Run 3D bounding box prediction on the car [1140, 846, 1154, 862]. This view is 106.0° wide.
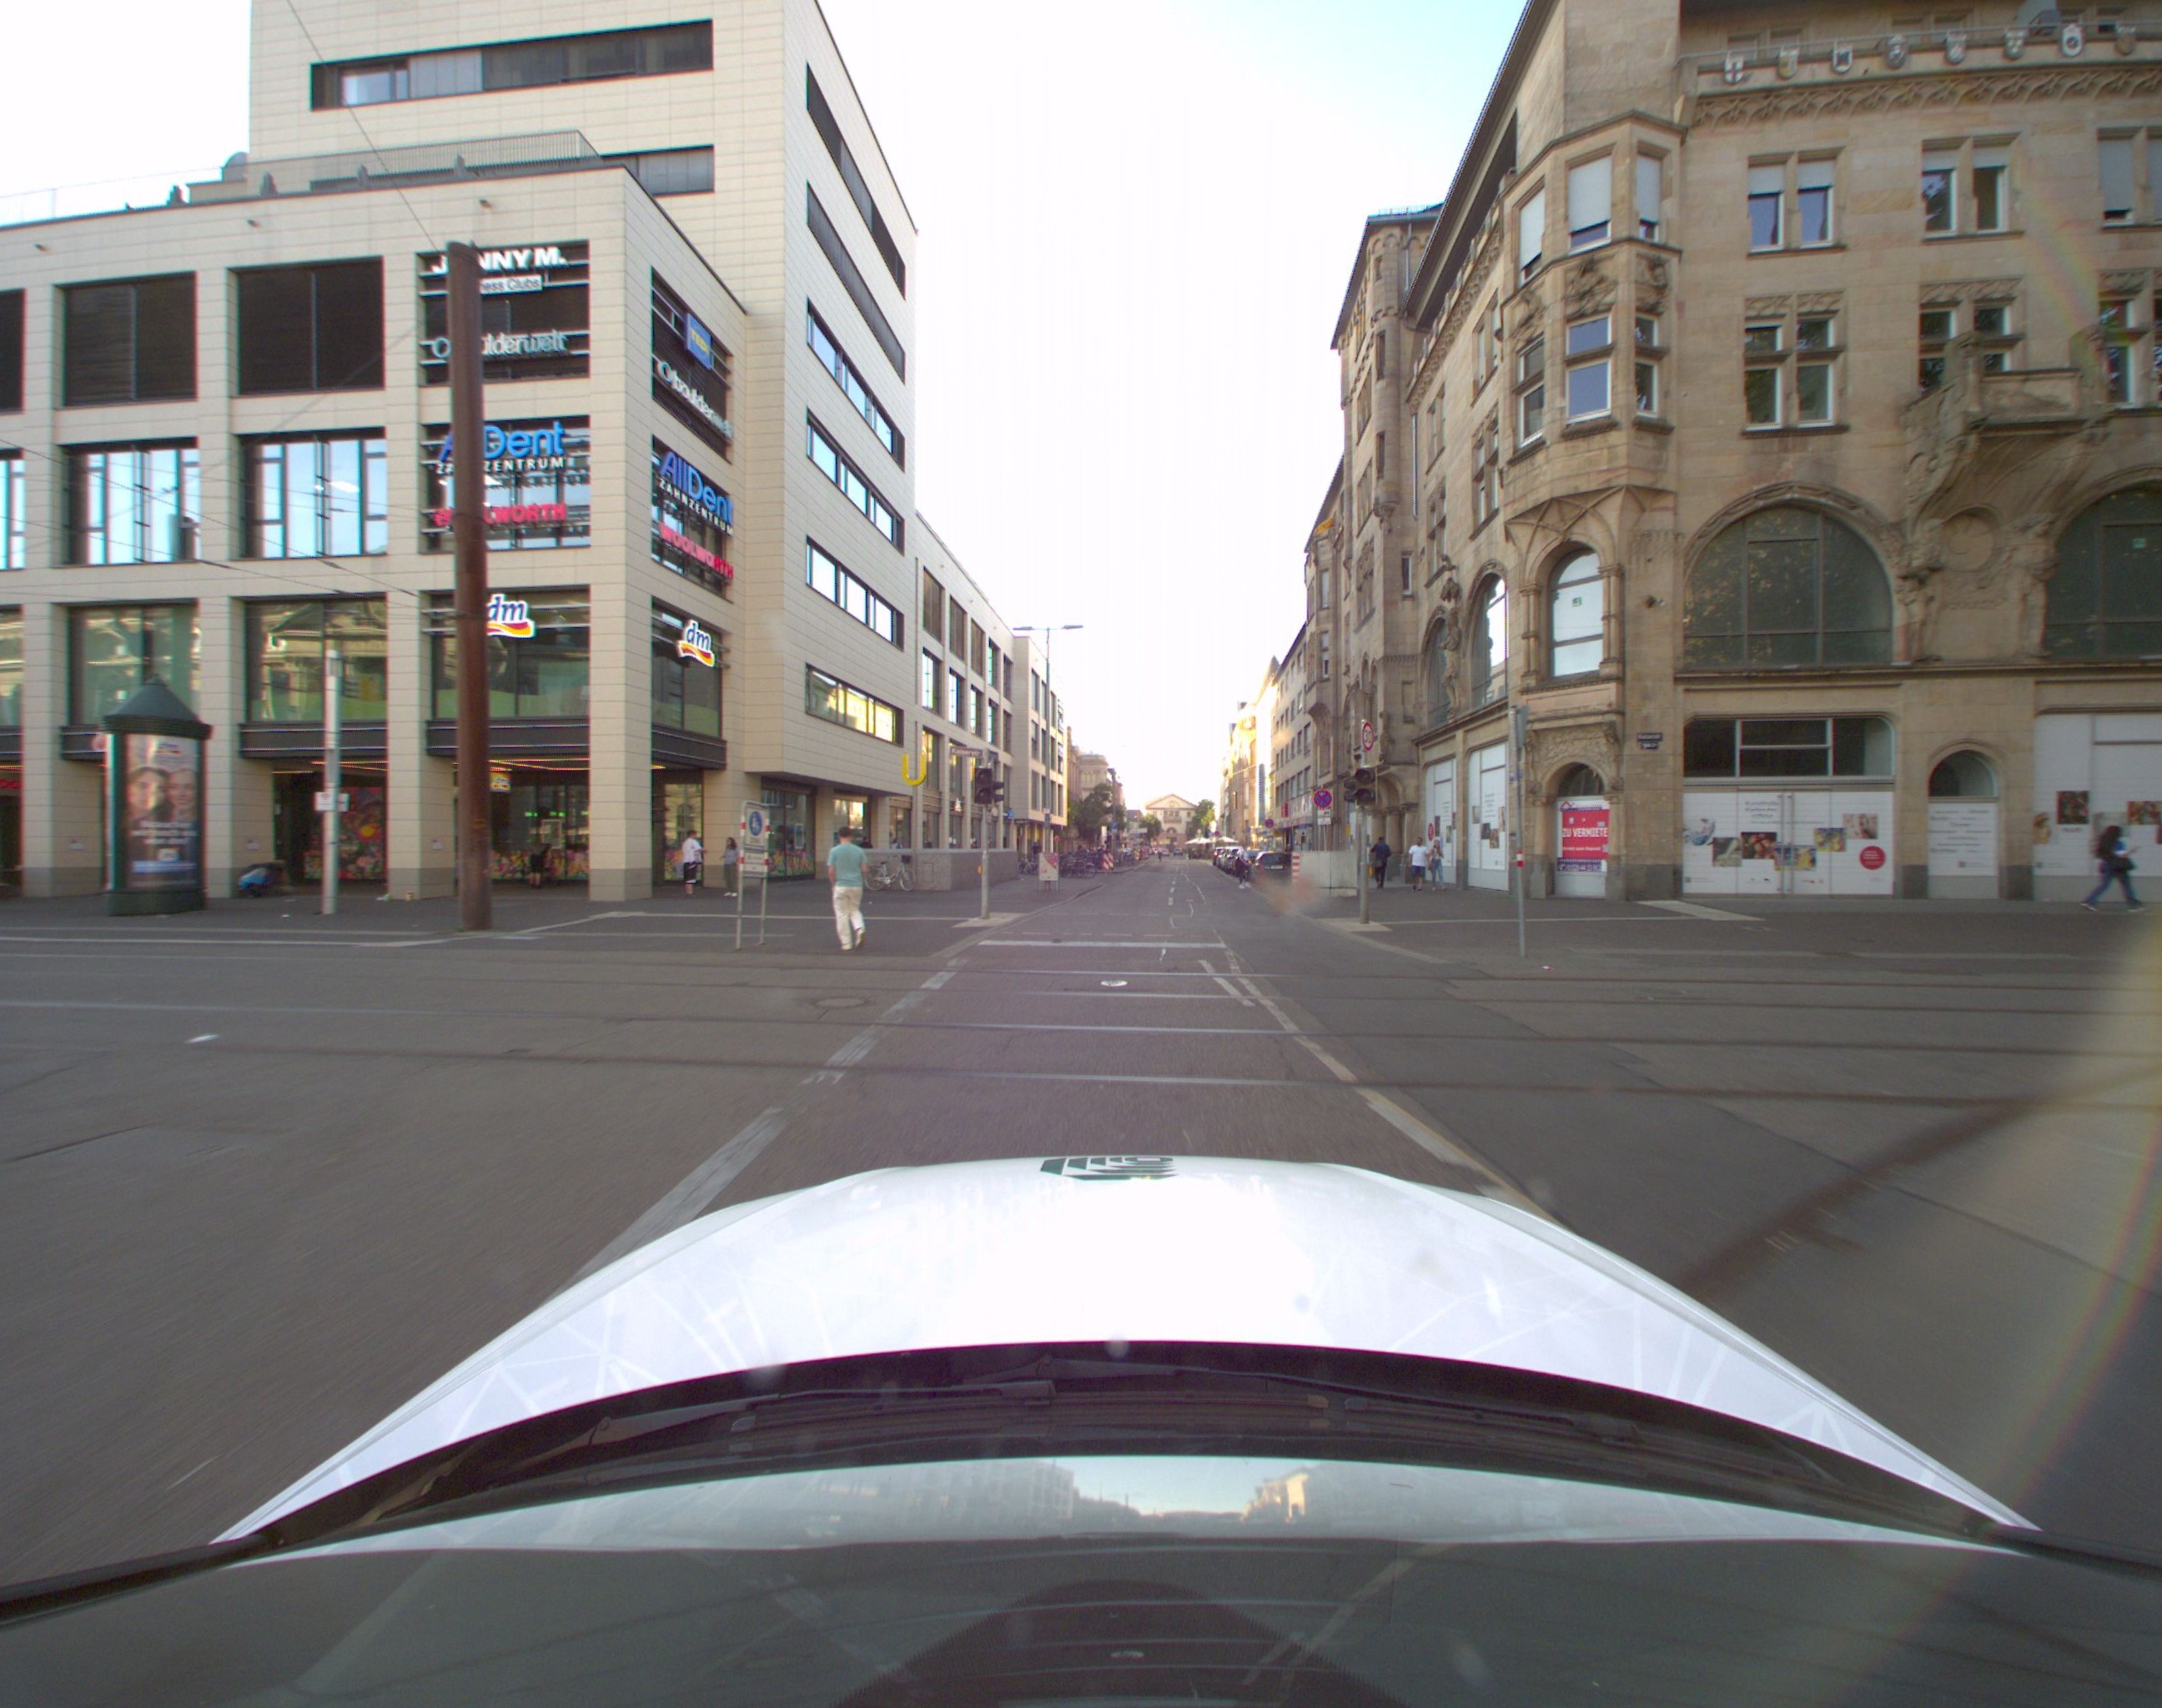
[{"bbox_3d":[8.790,-0.073,108.061,1.702,2.013,4.008,-1,1,6],"label":"car"}]

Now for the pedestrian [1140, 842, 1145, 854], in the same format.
[{"bbox_3d":[7.761,-0.798,102.420,0.547,1.486,0.566,-1,1,4],"label":"pedestrian"}]

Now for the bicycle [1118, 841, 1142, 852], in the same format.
[{"bbox_3d":[4.383,-0.674,72.842,2.136,1.029,0.642,-1,1,8],"label":"bicycle"}]

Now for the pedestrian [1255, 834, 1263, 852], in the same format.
[{"bbox_3d":[16.860,-1.027,77.116,0.640,1.746,0.672,-1,1,5],"label":"pedestrian"}]

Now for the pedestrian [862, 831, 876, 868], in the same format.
[{"bbox_3d":[-8.898,-0.201,34.139,0.388,1.515,0.506,-1,1,5],"label":"pedestrian"}]

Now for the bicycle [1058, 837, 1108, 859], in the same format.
[{"bbox_3d":[0.128,-0.359,48.277,2.896,1.255,0.799,-1,1,-20],"label":"bicycle"}]

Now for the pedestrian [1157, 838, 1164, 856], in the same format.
[{"bbox_3d":[8.209,-0.754,84.116,0.594,1.823,0.454,-1,1,16],"label":"pedestrian"}]

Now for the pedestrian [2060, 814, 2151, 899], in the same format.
[{"bbox_3d":[19.825,0.038,15.770,0.815,1.611,0.714,1,1,6],"label":"pedestrian"}]

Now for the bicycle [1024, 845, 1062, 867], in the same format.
[{"bbox_3d":[-2.034,0.104,43.761,1.975,1.121,0.554,0,1,-22],"label":"bicycle"}]

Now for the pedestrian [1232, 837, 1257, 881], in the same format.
[{"bbox_3d":[6.454,0.182,32.158,0.832,1.720,0.681,-1,1,-1],"label":"pedestrian"}]

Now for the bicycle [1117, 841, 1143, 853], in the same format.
[{"bbox_3d":[4.284,-0.644,71.078,2.136,1.029,0.642,-1,1,8],"label":"bicycle"}]

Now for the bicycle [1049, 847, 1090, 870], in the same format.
[{"bbox_3d":[-0.573,0.243,40.845,1.975,1.121,0.554,0,1,-22],"label":"bicycle"}]

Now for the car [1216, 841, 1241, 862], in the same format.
[{"bbox_3d":[11.741,-0.221,65.136,1.670,1.547,3.680,-2,1,6],"label":"car"}]

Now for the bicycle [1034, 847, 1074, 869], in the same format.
[{"bbox_3d":[-1.401,0.183,42.331,1.975,1.121,0.554,0,1,-22],"label":"bicycle"}]

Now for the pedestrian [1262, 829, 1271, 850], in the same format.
[{"bbox_3d":[16.030,-1.288,70.502,0.640,1.800,0.672,-1,1,5],"label":"pedestrian"}]

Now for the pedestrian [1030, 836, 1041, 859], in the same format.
[{"bbox_3d":[-3.281,-0.480,58.581,0.676,1.621,0.574,-1,1,6],"label":"pedestrian"}]

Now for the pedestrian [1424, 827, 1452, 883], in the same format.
[{"bbox_3d":[11.068,0.019,25.250,0.622,1.689,0.627,-1,1,5],"label":"pedestrian"}]

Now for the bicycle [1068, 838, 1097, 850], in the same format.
[{"bbox_3d":[0.143,-0.766,62.495,2.136,0.953,0.642,-1,1,8],"label":"bicycle"}]

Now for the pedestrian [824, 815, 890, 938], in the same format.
[{"bbox_3d":[-3.354,0.319,12.158,0.869,1.761,0.762,0,1,-21],"label":"pedestrian"}]

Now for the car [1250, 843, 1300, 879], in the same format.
[{"bbox_3d":[8.389,0.272,35.426,1.670,1.424,3.680,-1,1,6],"label":"car"}]

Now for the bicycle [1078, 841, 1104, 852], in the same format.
[{"bbox_3d":[0.846,-0.636,68.097,2.136,0.953,0.642,-1,1,8],"label":"bicycle"}]

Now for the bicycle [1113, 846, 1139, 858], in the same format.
[{"bbox_3d":[3.857,-0.152,69.549,2.136,1.029,0.642,-1,1,8],"label":"bicycle"}]

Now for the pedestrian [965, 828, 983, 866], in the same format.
[{"bbox_3d":[-4.901,-0.324,37.358,0.678,1.680,0.601,1,1,4],"label":"pedestrian"}]

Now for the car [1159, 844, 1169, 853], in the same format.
[{"bbox_3d":[16.439,-1.113,161.563,1.983,1.903,4.008,1,1,6],"label":"car"}]

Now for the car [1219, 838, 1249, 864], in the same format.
[{"bbox_3d":[10.856,-0.233,58.046,1.790,1.768,4.406,-2,1,6],"label":"car"}]

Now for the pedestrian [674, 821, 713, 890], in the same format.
[{"bbox_3d":[-10.681,0.038,22.461,0.568,1.854,0.820,1,1,19],"label":"pedestrian"}]

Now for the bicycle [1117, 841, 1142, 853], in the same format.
[{"bbox_3d":[4.202,-0.632,70.311,2.136,1.029,0.642,-1,1,8],"label":"bicycle"}]

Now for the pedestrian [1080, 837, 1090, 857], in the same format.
[{"bbox_3d":[0.311,-0.532,63.133,0.747,1.529,0.486,-1,1,6],"label":"pedestrian"}]

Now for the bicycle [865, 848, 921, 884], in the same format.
[{"bbox_3d":[-6.006,0.384,26.092,1.686,1.121,0.452,1,1,9],"label":"bicycle"}]

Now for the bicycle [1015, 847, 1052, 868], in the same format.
[{"bbox_3d":[-2.657,0.187,45.354,1.975,1.121,0.554,0,1,-22],"label":"bicycle"}]

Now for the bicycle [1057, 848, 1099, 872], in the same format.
[{"bbox_3d":[-0.146,0.298,39.881,1.975,1.121,0.554,0,1,-22],"label":"bicycle"}]

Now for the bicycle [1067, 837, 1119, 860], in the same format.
[{"bbox_3d":[0.684,-0.332,47.123,2.896,1.255,0.799,-1,1,-20],"label":"bicycle"}]

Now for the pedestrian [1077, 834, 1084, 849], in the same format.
[{"bbox_3d":[-0.048,-1.330,87.977,0.676,1.621,0.574,-1,1,6],"label":"pedestrian"}]

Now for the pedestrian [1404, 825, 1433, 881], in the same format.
[{"bbox_3d":[10.377,-0.047,25.040,0.622,1.689,0.672,-1,1,5],"label":"pedestrian"}]

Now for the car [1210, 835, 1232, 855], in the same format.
[{"bbox_3d":[12.691,-0.829,73.983,1.670,1.666,3.680,-2,1,6],"label":"car"}]

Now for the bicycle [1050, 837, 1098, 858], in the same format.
[{"bbox_3d":[-0.419,-0.405,50.542,2.896,1.255,0.799,-1,1,-20],"label":"bicycle"}]

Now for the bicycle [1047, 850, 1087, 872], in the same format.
[{"bbox_3d":[-0.719,0.351,41.302,1.975,1.121,0.554,0,1,-22],"label":"bicycle"}]

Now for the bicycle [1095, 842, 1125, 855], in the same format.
[{"bbox_3d":[2.146,-0.438,60.843,2.136,0.953,0.642,-1,1,8],"label":"bicycle"}]

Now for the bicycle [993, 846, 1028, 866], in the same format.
[{"bbox_3d":[-4.198,0.116,48.396,1.975,1.121,0.554,0,1,-22],"label":"bicycle"}]

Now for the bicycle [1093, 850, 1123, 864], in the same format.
[{"bbox_3d":[1.971,0.236,58.963,2.136,0.953,0.642,-1,1,8],"label":"bicycle"}]

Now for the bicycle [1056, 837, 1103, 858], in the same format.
[{"bbox_3d":[-0.089,-0.426,51.991,2.896,1.255,0.799,-1,1,-20],"label":"bicycle"}]

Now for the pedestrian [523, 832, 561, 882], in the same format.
[{"bbox_3d":[-16.775,0.093,25.342,0.568,1.526,0.794,1,1,19],"label":"pedestrian"}]

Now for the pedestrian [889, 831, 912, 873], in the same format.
[{"bbox_3d":[-7.645,-0.096,34.495,0.778,1.751,0.601,1,1,4],"label":"pedestrian"}]

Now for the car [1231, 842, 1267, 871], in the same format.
[{"bbox_3d":[9.433,0.103,45.954,1.670,1.547,3.680,-2,1,6],"label":"car"}]

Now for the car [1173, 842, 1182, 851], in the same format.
[{"bbox_3d":[21.427,-1.639,180.675,1.983,1.903,4.008,1,1,6],"label":"car"}]

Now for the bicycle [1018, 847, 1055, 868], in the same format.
[{"bbox_3d":[-2.422,0.172,44.346,1.975,1.121,0.554,0,1,-22],"label":"bicycle"}]

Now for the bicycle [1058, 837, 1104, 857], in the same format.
[{"bbox_3d":[0.016,-0.442,52.961,2.896,1.255,0.799,-1,1,-20],"label":"bicycle"}]

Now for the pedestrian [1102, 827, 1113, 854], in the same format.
[{"bbox_3d":[1.785,-0.912,55.200,0.655,1.823,0.527,-1,1,-4],"label":"pedestrian"}]

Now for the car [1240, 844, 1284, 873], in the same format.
[{"bbox_3d":[9.006,0.194,40.770,1.670,1.291,4.054,-2,1,6],"label":"car"}]

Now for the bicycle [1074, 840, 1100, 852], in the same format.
[{"bbox_3d":[0.499,-0.680,67.224,2.136,0.953,0.642,-1,1,8],"label":"bicycle"}]

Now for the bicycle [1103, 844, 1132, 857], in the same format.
[{"bbox_3d":[2.788,-0.293,62.263,2.136,0.953,0.642,-1,1,8],"label":"bicycle"}]

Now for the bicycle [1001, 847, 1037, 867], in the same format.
[{"bbox_3d":[-3.525,0.157,46.505,1.975,1.121,0.554,0,1,-22],"label":"bicycle"}]

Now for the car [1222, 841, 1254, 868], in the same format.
[{"bbox_3d":[10.008,0.021,52.136,1.670,1.613,4.036,-2,1,6],"label":"car"}]

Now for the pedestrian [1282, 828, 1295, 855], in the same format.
[{"bbox_3d":[13.190,-0.814,51.781,0.640,1.689,0.672,-1,1,5],"label":"pedestrian"}]

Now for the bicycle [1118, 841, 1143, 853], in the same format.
[{"bbox_3d":[4.352,-0.662,72.114,2.136,1.029,0.642,-1,1,8],"label":"bicycle"}]

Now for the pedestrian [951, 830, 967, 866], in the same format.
[{"bbox_3d":[-5.621,-0.270,37.492,0.597,1.646,0.546,1,1,4],"label":"pedestrian"}]

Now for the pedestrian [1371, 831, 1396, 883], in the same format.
[{"bbox_3d":[10.000,0.081,26.936,0.622,1.689,0.672,-1,1,5],"label":"pedestrian"}]

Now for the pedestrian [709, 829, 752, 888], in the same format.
[{"bbox_3d":[-10.047,0.121,23.357,0.760,1.659,0.820,1,1,20],"label":"pedestrian"}]

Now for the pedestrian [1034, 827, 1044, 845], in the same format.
[{"bbox_3d":[-3.686,-1.569,71.132,0.727,1.621,0.662,-1,1,6],"label":"pedestrian"}]

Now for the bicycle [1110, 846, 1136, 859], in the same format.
[{"bbox_3d":[3.498,-0.131,68.057,2.136,1.029,0.642,-1,1,8],"label":"bicycle"}]
